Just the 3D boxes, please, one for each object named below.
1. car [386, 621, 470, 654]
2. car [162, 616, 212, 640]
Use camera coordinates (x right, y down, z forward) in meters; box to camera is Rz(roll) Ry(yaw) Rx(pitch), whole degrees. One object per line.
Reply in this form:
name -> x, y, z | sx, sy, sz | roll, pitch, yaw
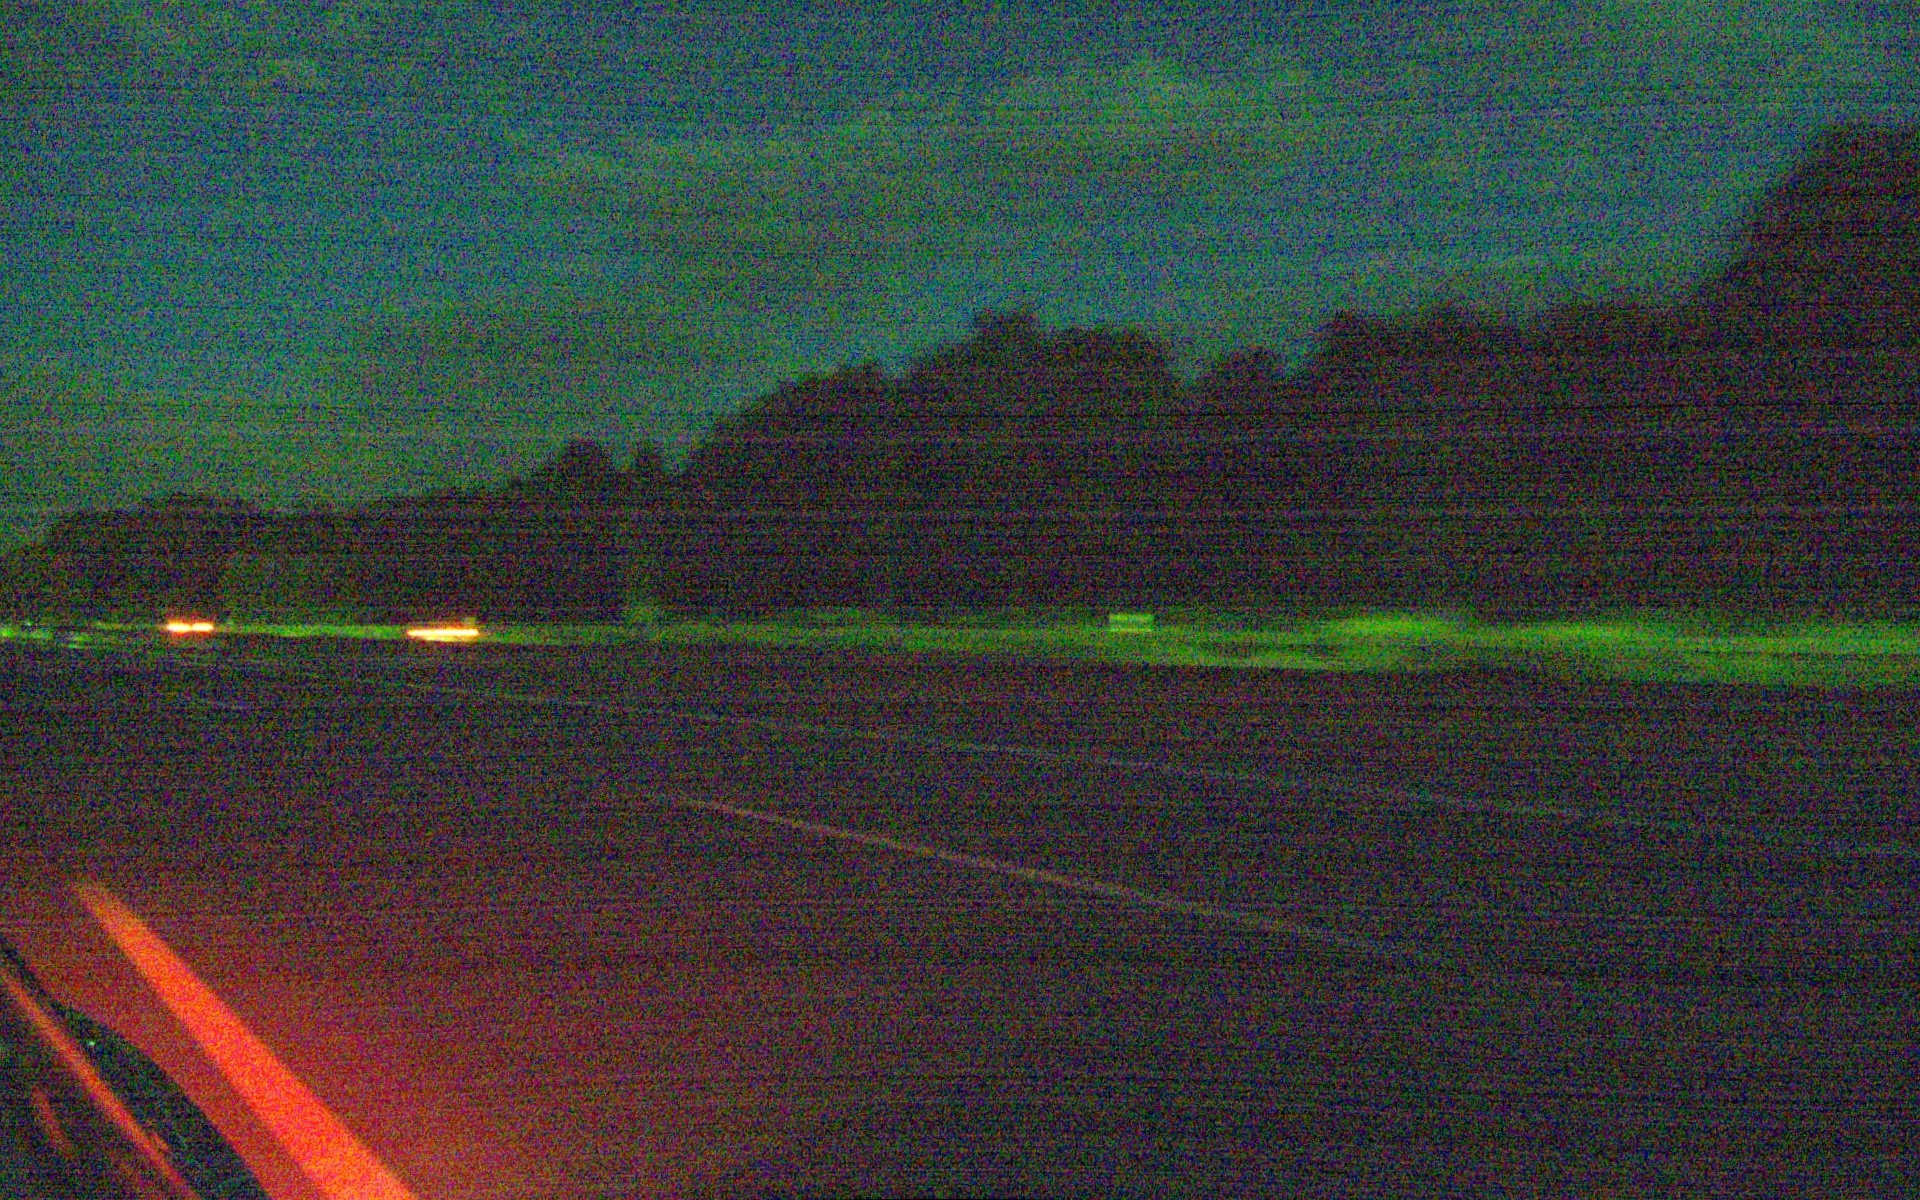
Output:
car -> -23.731, 1.646, 45.069 | 4.399, 1.342, 1.972 | -1, -1, 43
car -> -54.689, 1.943, 71.599 | 4.396, 1.663, 1.973 | -1, -1, 41
